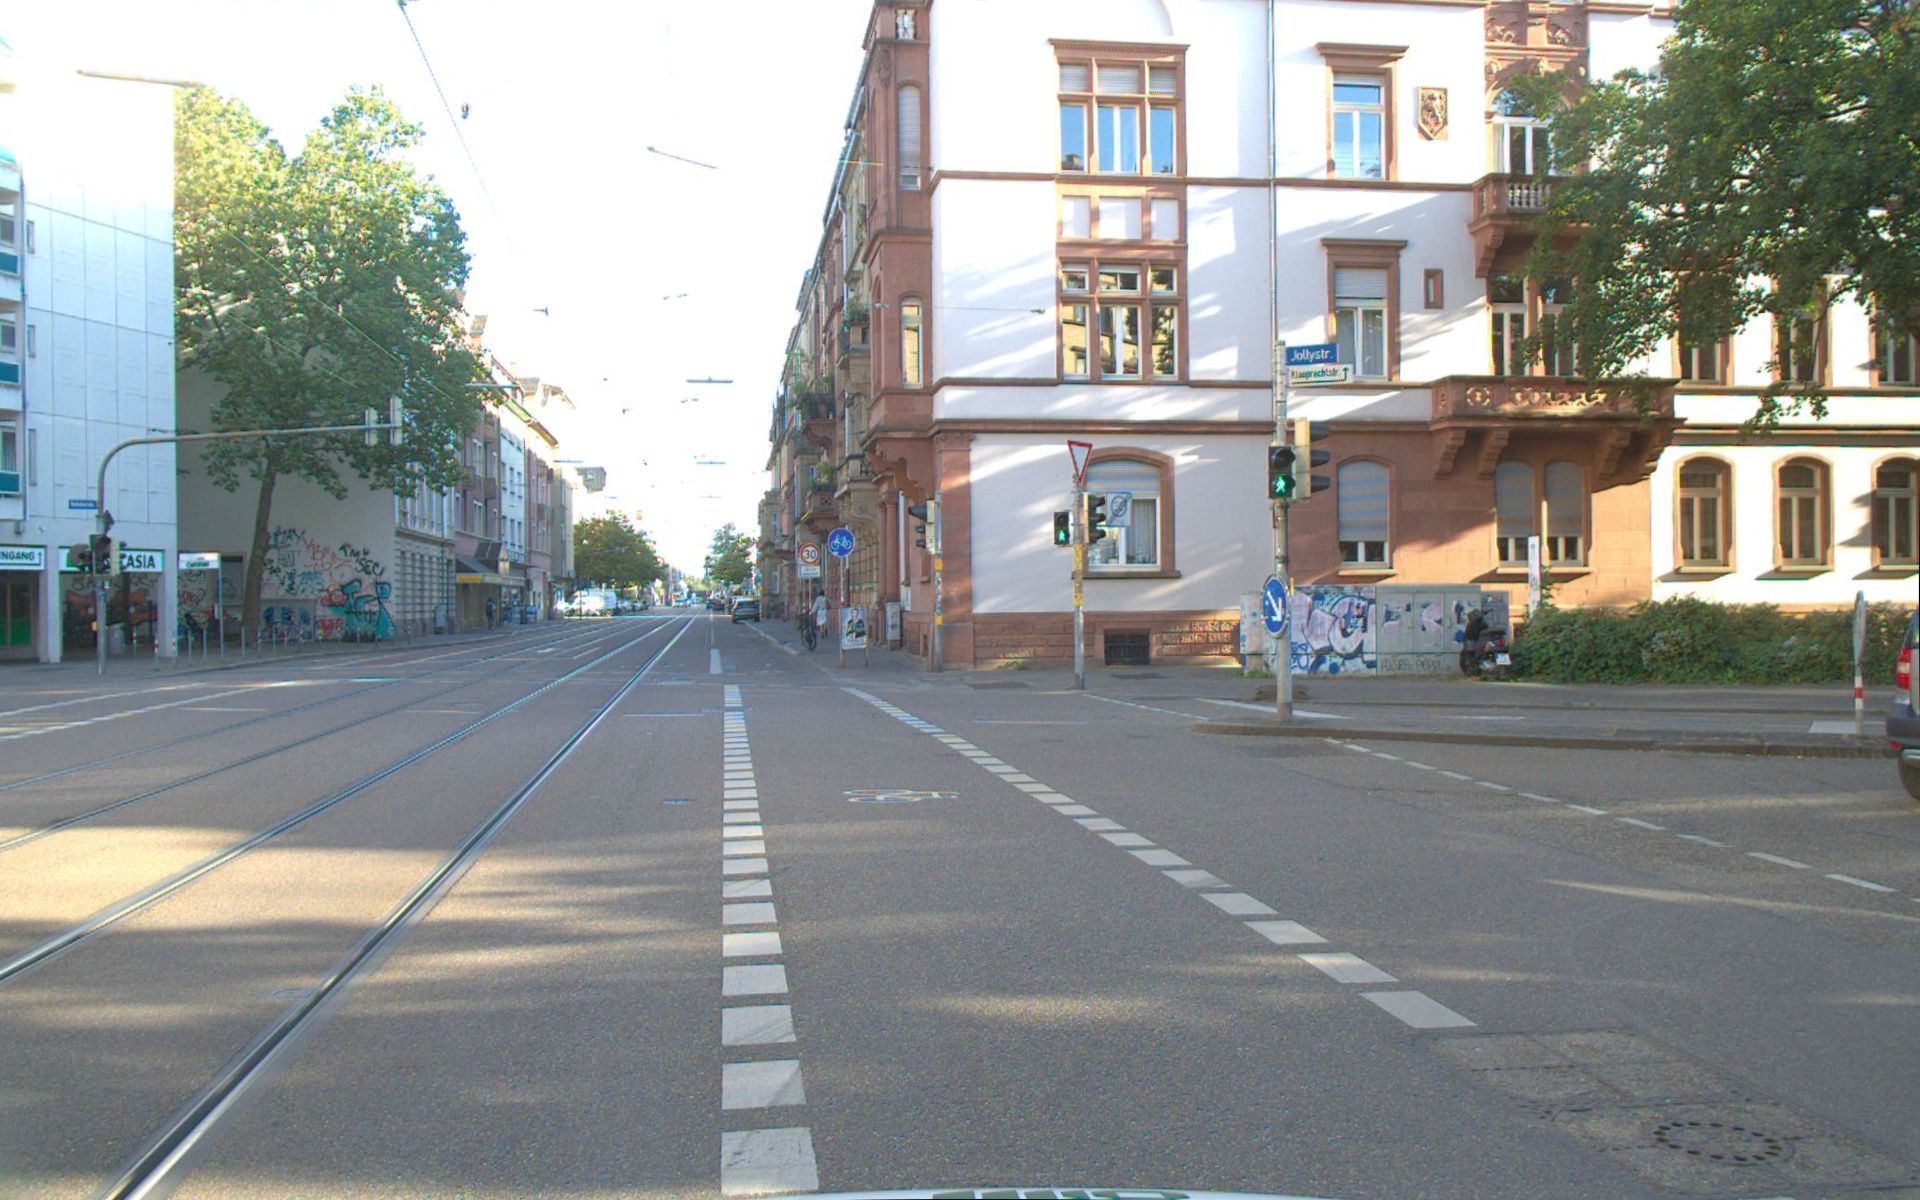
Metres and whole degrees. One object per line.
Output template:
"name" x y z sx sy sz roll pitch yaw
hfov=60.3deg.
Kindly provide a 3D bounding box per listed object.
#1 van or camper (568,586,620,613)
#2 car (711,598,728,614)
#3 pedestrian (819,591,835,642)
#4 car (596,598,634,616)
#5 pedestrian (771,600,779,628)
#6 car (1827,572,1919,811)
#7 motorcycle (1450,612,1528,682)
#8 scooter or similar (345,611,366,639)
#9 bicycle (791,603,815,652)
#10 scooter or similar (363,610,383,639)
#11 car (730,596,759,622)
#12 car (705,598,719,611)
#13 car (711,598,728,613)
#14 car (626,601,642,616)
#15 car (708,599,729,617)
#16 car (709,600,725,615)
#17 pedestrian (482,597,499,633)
"van or camper" -35.969 -0.009 162.588 4.606 2.608 1.971 0 -1 -40
"car" -27.522 0.694 189.298 1.957 1.758 3.991 0 -1 -9
"pedestrian" -4.789 0.588 59.718 0.534 1.811 0.503 -1 0 -8
"car" -41.159 0.859 197.289 3.951 2.049 1.977 -1 0 -34
"pedestrian" -11.912 0.878 106.478 0.534 1.811 0.748 -1 0 -8
"car" 8.517 0.600 11.981 3.936 1.646 1.984 -1 -1 -25
"motorcycle" 8.999 0.773 28.214 0.704 1.037 2.288 -1 2 3
"scooter or similar" -23.543 0.961 64.461 0.507 1.064 1.474 -1 0 -10
"bicycle" -4.442 0.767 46.758 0.641 1.347 2.174 -1 0 -6
"scooter or similar" -22.924 0.953 64.594 0.507 1.076 1.474 -1 0 -10
"car" -15.001 0.626 115.162 1.913 1.713 3.993 -1 0 -7
"car" -35.408 0.654 235.814 1.957 1.758 3.991 0 -1 -9
"car" -28.302 0.639 194.355 1.957 1.758 3.991 0 -1 -9
"car" -44.088 1.110 223.628 1.957 2.049 3.991 -1 0 -9
"car" -24.054 0.832 164.591 1.957 1.758 3.991 0 -1 -9
"car" -29.885 0.914 203.283 1.957 1.758 3.991 0 -1 -9
"pedestrian" -23.239 0.748 81.889 0.688 1.759 0.646 -1 0 -9
